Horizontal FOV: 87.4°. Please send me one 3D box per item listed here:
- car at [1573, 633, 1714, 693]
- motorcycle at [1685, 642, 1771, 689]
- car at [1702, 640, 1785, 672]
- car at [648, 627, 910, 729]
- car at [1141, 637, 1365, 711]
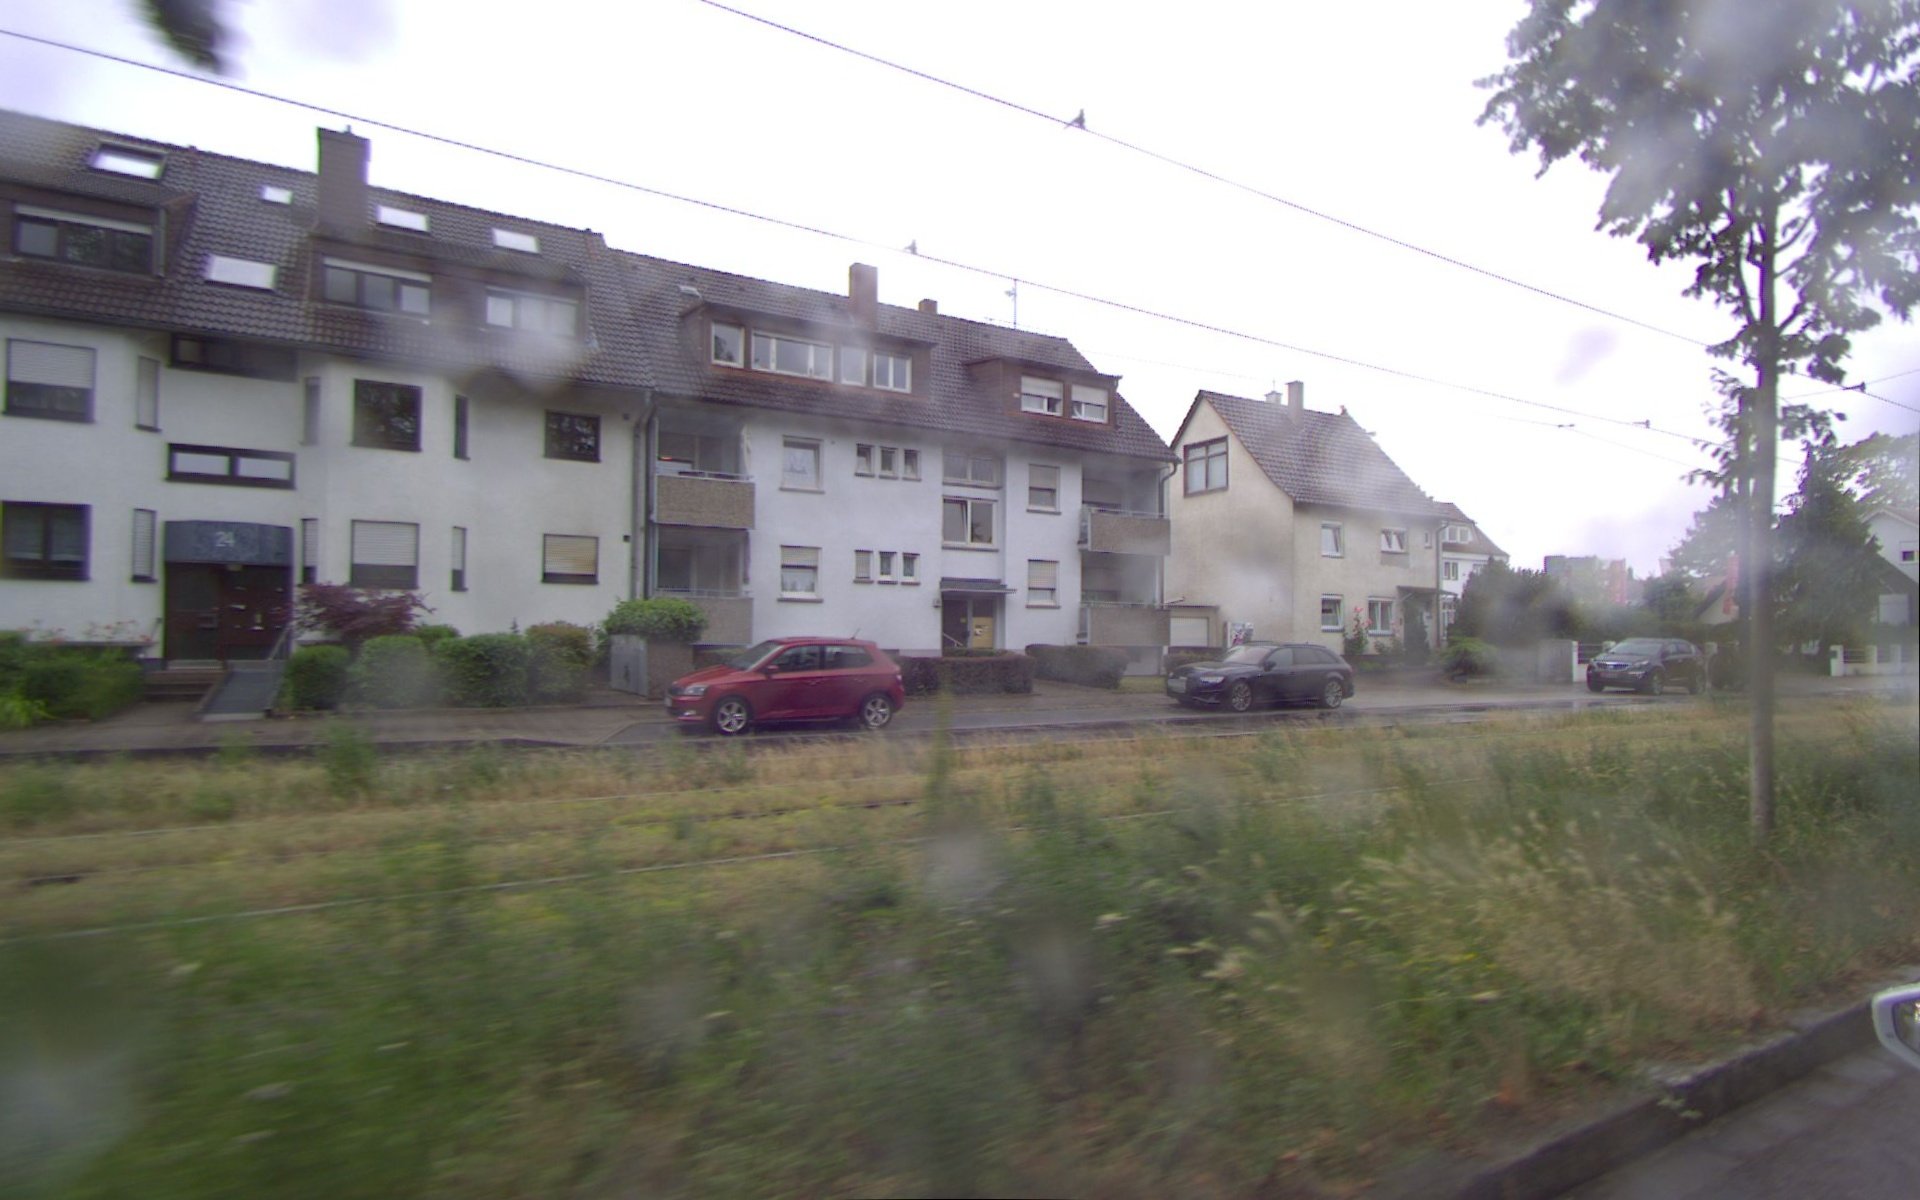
[{"bbox_3d":[20.976,1.899,30.805,4.338,1.696,1.983,2,-2,-31],"label":"car"},{"bbox_3d":[25.520,2.153,33.445,1.241,1.429,2.690,2,-1,13],"label":"motorcycle"},{"bbox_3d":[39.618,2.779,50.767,3.871,1.475,1.984,1,0,-30],"label":"car"},{"bbox_3d":[-3.001,1.227,16.738,3.949,1.476,1.791,1,0,-28],"label":"car"},{"bbox_3d":[6.504,1.569,22.197,4.701,1.430,1.986,1,0,-28],"label":"car"}]
